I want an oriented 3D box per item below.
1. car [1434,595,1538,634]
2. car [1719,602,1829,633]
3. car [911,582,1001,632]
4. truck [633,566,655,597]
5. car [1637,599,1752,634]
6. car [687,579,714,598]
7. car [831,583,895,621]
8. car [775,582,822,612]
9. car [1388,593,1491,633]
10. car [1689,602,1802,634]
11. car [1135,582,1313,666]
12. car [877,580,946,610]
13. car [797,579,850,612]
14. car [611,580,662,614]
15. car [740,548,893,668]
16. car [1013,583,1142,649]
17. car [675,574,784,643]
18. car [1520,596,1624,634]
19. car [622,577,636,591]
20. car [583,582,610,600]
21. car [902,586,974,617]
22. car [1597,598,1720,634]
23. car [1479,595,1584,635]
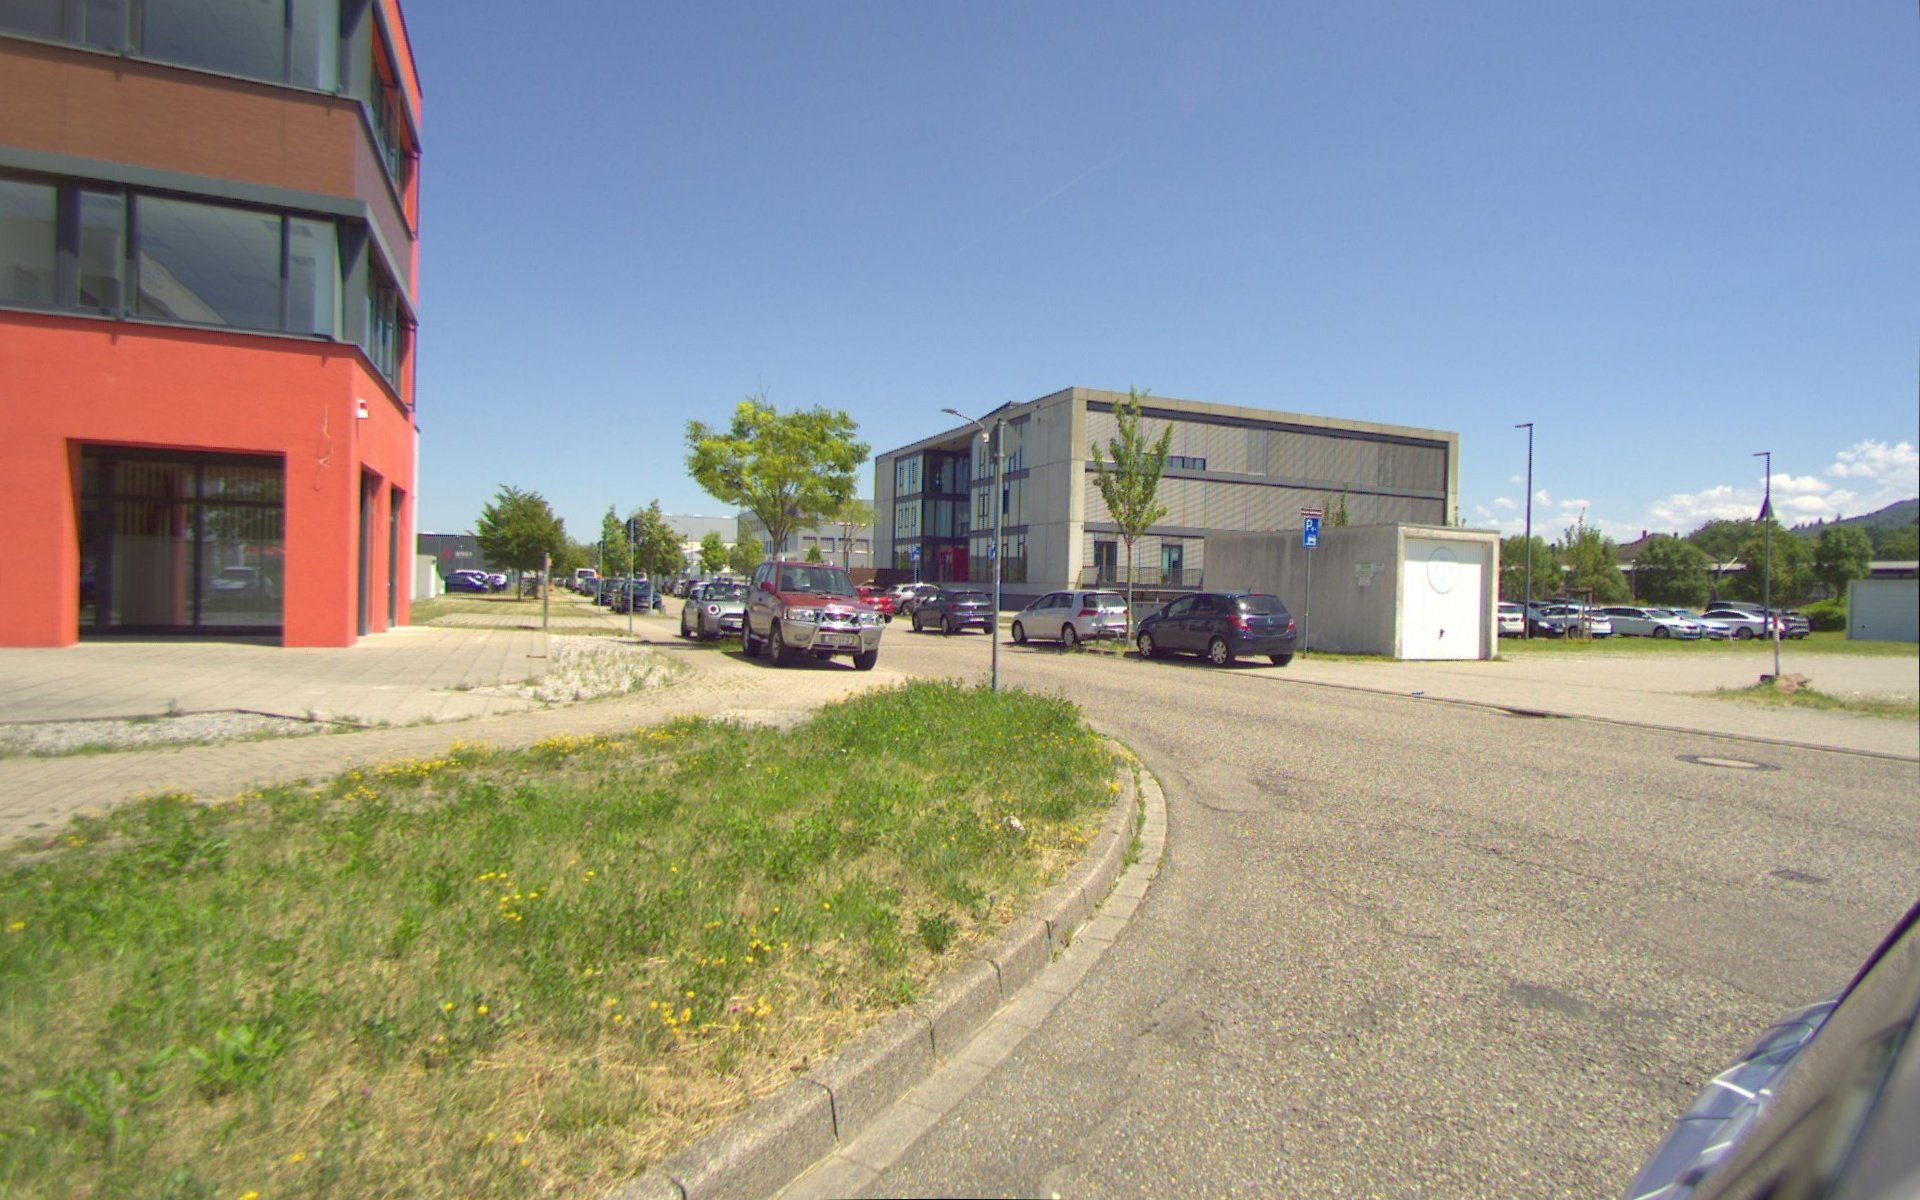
[{"bbox_3d":[22.008,0.582,42.485,1.624,1.519,3.635,1,1,-23],"label":"car"},{"bbox_3d":[41.205,0.871,51.344,1.624,1.404,4.065,1,1,-23],"label":"car"},{"bbox_3d":[-0.197,0.182,33.174,1.624,1.487,3.635,-2,2,-23],"label":"car"},{"bbox_3d":[-39.450,-2.303,126.136,1.765,3.632,7.448,1,0,-23],"label":"truck"},{"bbox_3d":[34.203,0.736,47.228,1.624,1.485,4.065,1,1,-23],"label":"car"},{"bbox_3d":[-21.640,-0.995,84.222,1.624,1.487,3.635,-2,2,-23],"label":"car"},{"bbox_3d":[-4.136,0.032,42.759,1.624,1.487,3.635,-2,2,-23],"label":"car"},{"bbox_3d":[-8.615,-0.191,53.812,1.624,1.487,3.635,-2,2,-23],"label":"car"},{"bbox_3d":[19.674,0.495,41.686,1.624,1.519,3.635,1,1,-23],"label":"car"},{"bbox_3d":[38.355,0.855,49.536,1.624,1.443,4.065,1,1,-23],"label":"car"},{"bbox_3d":[5.319,0.408,20.870,1.649,1.519,3.635,-2,2,-23],"label":"car"},{"bbox_3d":[-2.617,-0.296,54.993,1.654,1.487,3.570,0,2,45],"label":"car"},{"bbox_3d":[-6.665,-0.255,49.143,1.624,1.487,3.635,-2,2,-23],"label":"car"},{"bbox_3d":[-14.819,-0.176,46.256,1.750,1.460,3.715,1,0,-25],"label":"car"},{"bbox_3d":[-2.650,0.130,17.853,1.772,1.798,4.008,3,-1,-21],"label":"car"},{"bbox_3d":[2.957,0.346,26.120,1.625,1.519,3.635,-2,2,-25],"label":"car"},{"bbox_3d":[-5.651,0.157,24.533,1.750,1.460,3.715,4,0,-25],"label":"car"},{"bbox_3d":[26.742,0.631,44.330,1.624,1.519,3.635,1,1,-23],"label":"car"},{"bbox_3d":[-48.885,-2.358,149.451,1.860,2.039,4.009,1,0,-20],"label":"car"},{"bbox_3d":[-30.234,-0.769,84.190,1.750,1.460,3.715,1,0,-25],"label":"car"},{"bbox_3d":[-1.126,0.049,52.090,1.654,1.487,3.570,0,2,45],"label":"car"},{"bbox_3d":[31.921,0.716,46.397,1.674,1.485,4.380,1,1,-23],"label":"car"},{"bbox_3d":[24.298,0.603,43.134,1.624,1.554,3.635,1,1,-23],"label":"car"}]
